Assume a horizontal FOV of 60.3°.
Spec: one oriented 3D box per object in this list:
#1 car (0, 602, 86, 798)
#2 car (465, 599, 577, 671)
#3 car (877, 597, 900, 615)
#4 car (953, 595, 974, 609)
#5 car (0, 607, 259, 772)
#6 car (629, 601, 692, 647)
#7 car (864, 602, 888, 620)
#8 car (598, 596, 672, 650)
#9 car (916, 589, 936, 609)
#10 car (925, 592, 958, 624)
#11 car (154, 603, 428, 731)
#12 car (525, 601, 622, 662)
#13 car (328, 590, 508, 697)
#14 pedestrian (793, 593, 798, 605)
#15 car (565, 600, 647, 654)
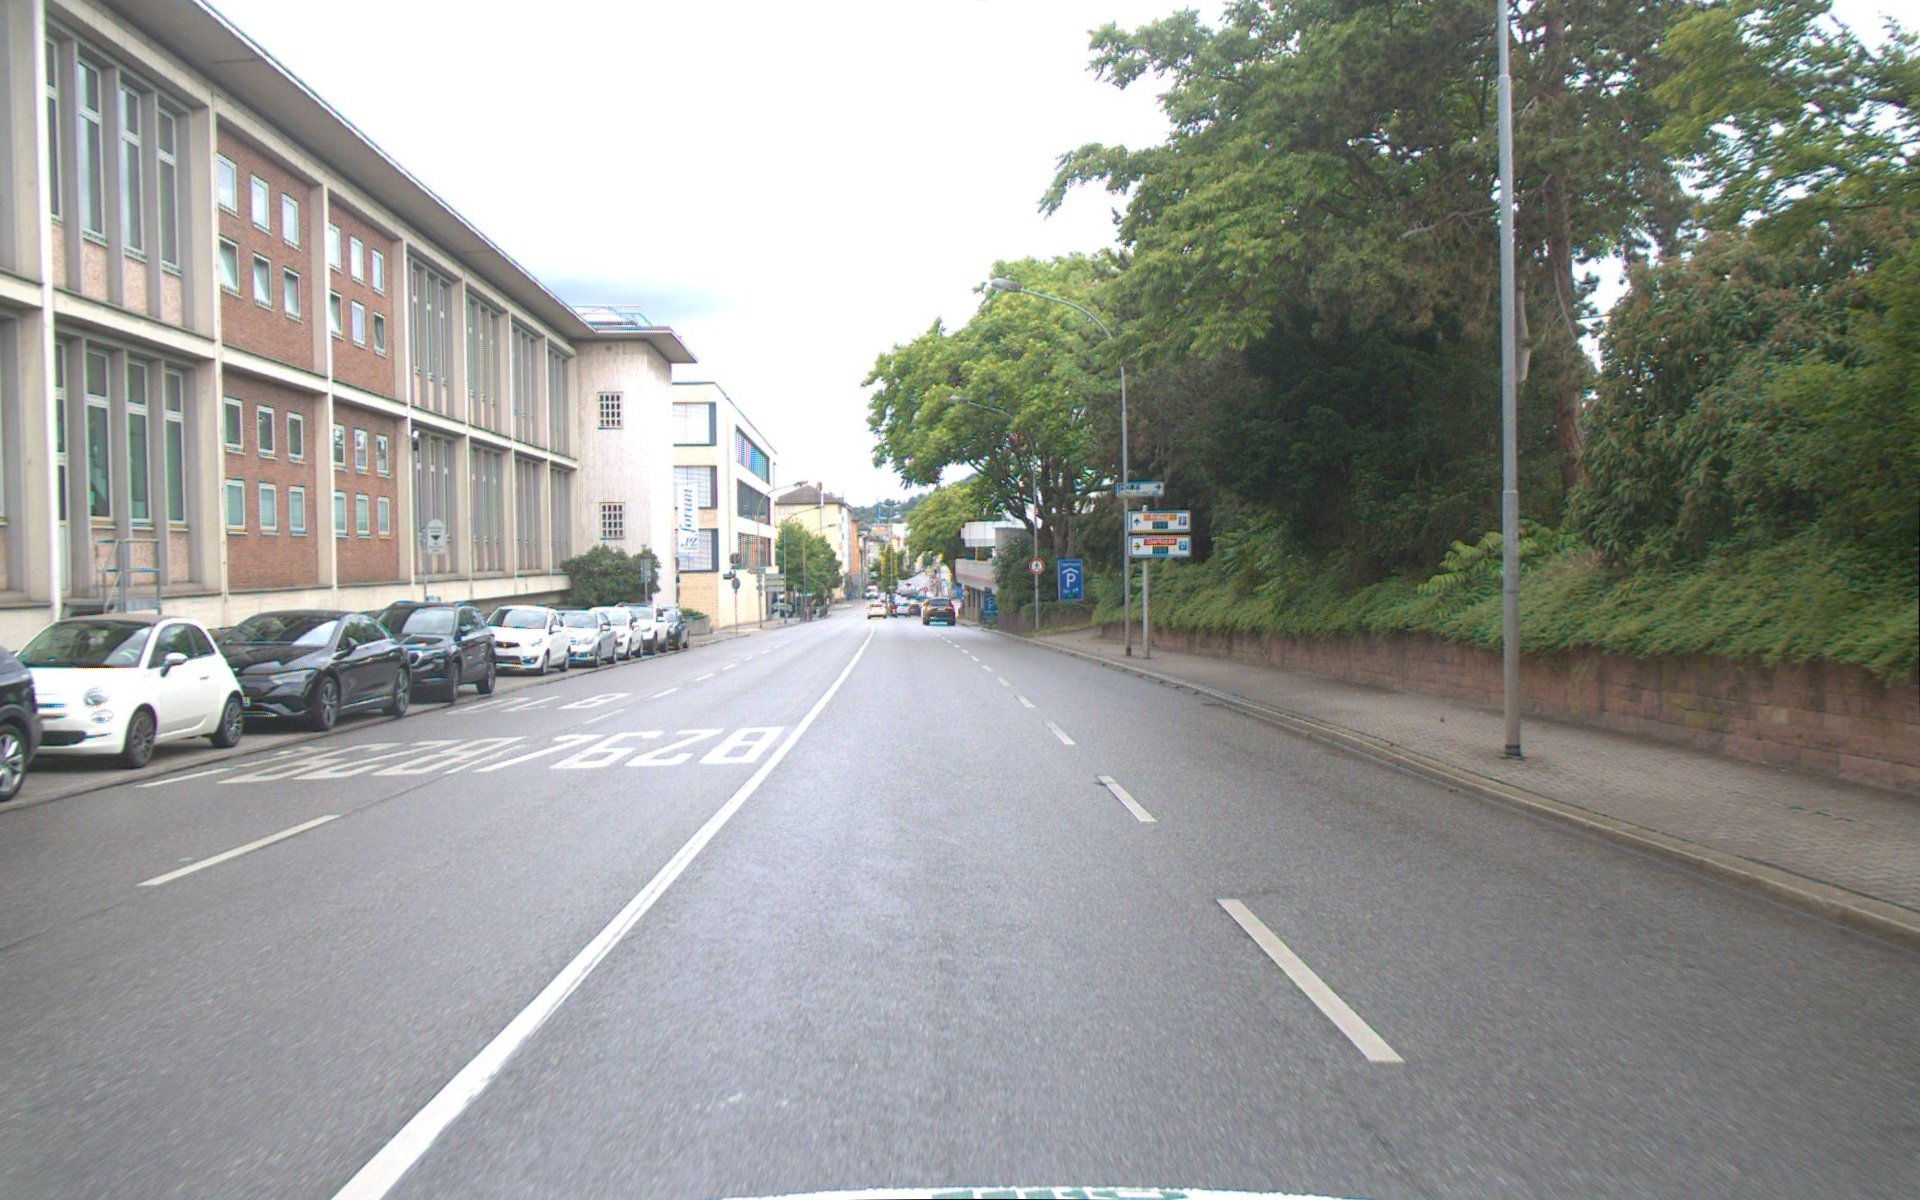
[{"bbox_3d":[-8.740,0.837,12.669,1.823,1.579,4.312,0,1,-1],"label":"car"},{"bbox_3d":[-10.025,0.764,38.048,1.645,1.549,3.919,0,0,-2],"label":"car"},{"bbox_3d":[-7.145,0.576,164.007,1.956,1.709,3.994,0,0,-7],"label":"car"},{"bbox_3d":[0.458,0.238,206.017,1.951,1.709,4.004,-1,0,11],"label":"car"},{"bbox_3d":[-8.934,0.863,17.501,1.534,1.510,3.552,0,0,-1],"label":"car"},{"bbox_3d":[-10.680,0.830,59.219,1.713,1.505,4.178,2,0,-4],"label":"car"},{"bbox_3d":[-7.971,1.029,156.092,1.956,1.709,3.994,0,0,-7],"label":"car"},{"bbox_3d":[-10.571,0.719,54.037,1.713,1.625,4.179,2,0,-3],"label":"car"},{"bbox_3d":[-3.388,-0.072,165.299,1.953,1.869,3.999,-2,1,-1],"label":"car"},{"bbox_3d":[-1.256,0.514,110.084,2.049,1.944,4.099,-2,1,-2],"label":"car"},{"bbox_3d":[-8.877,0.812,22.444,1.778,1.510,4.908,0,0,-1],"label":"car"},{"bbox_3d":[-10.045,0.795,43.274,1.713,1.460,4.482,2,0,-4],"label":"car"},{"bbox_3d":[-9.302,0.719,28.789,1.805,1.682,4.513,1,-1,-3],"label":"car"},{"bbox_3d":[-17.634,-0.068,176.904,0.444,1.301,0.454,-1,0,8],"label":"pedestrian"},{"bbox_3d":[-10.367,0.767,48.727,1.713,1.479,4.178,2,0,-4],"label":"car"}]
